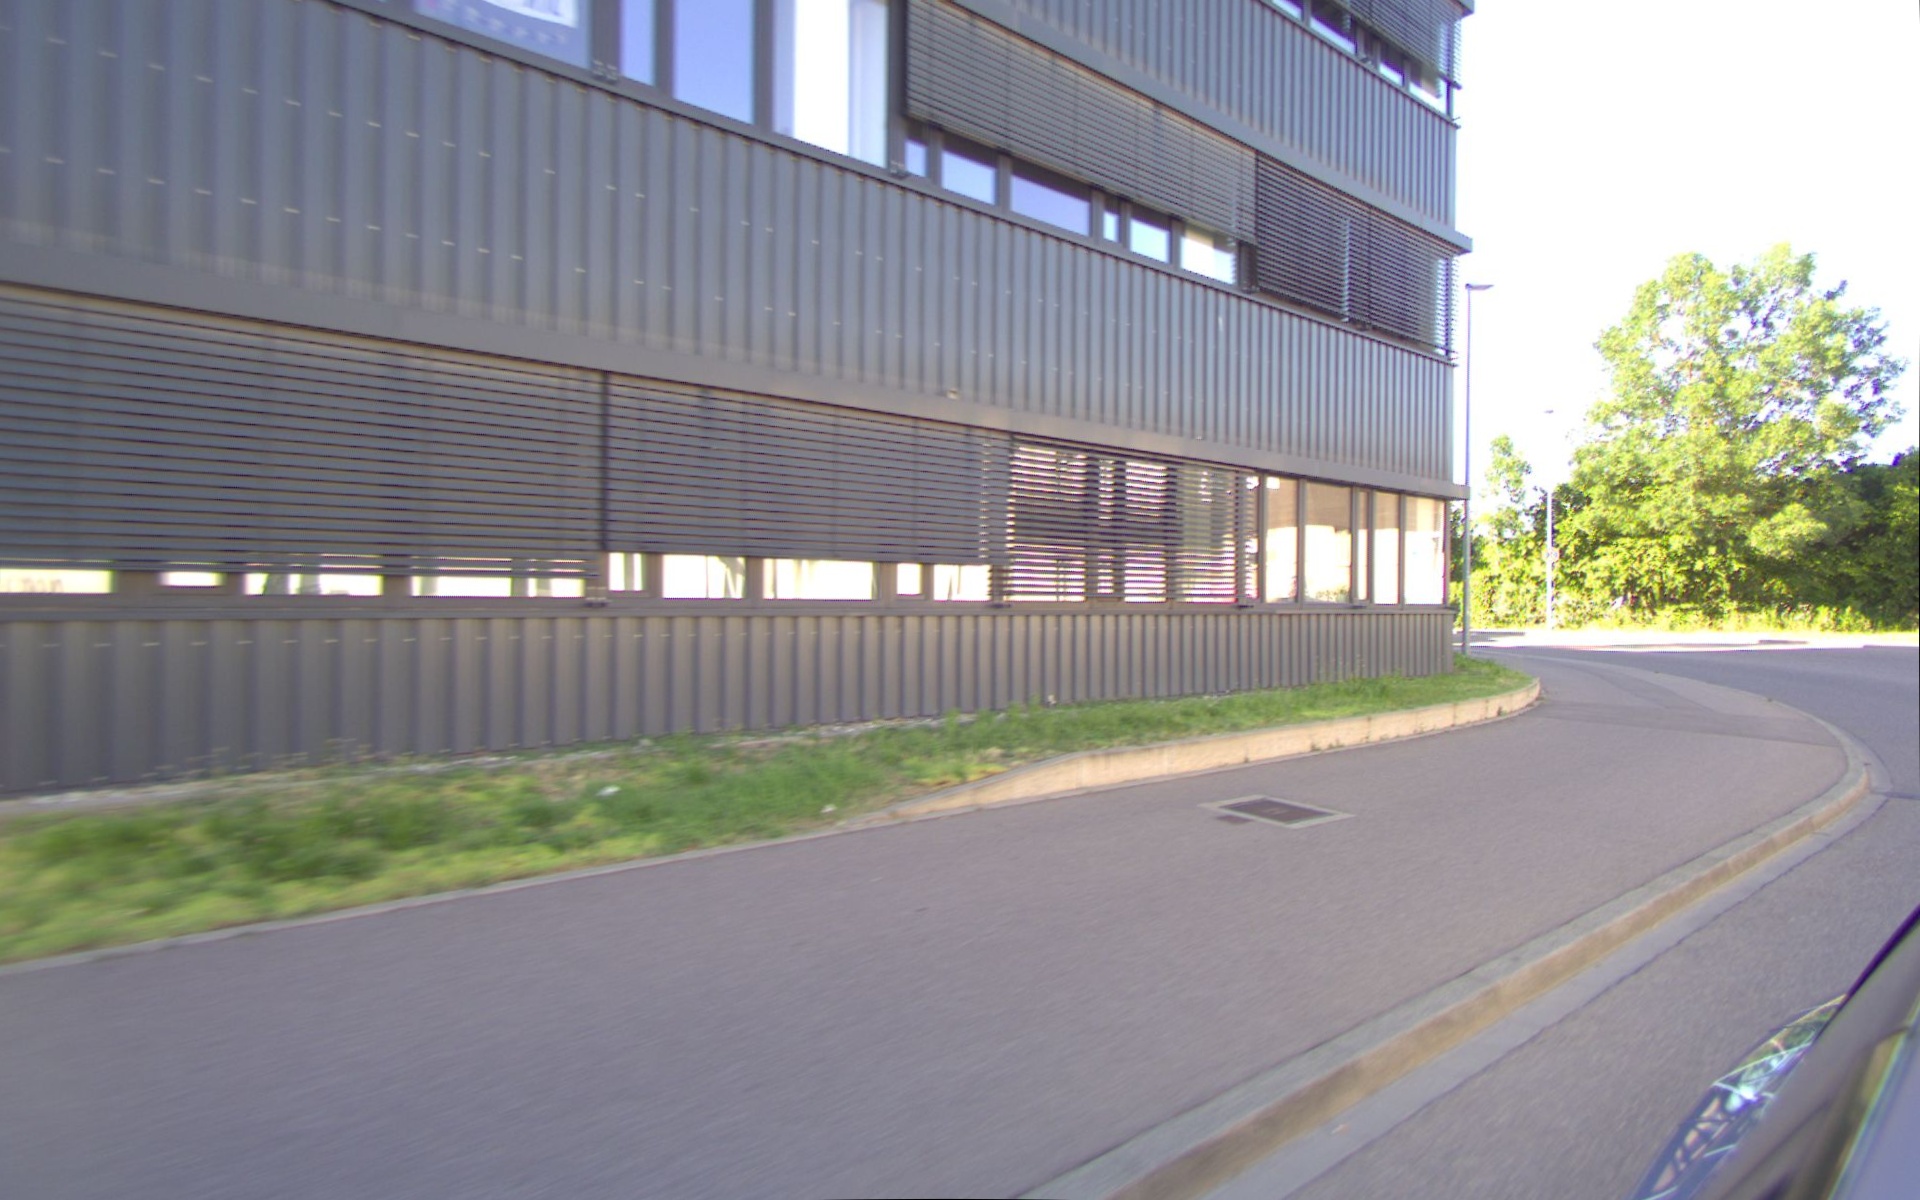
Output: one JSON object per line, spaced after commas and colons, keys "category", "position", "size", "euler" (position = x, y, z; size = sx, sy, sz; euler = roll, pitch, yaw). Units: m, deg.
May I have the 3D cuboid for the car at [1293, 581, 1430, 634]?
{"category": "car", "position": [13.447, 0.190, 34.244], "size": [1.995, 1.653, 4.623], "euler": [0, 1, -14]}
